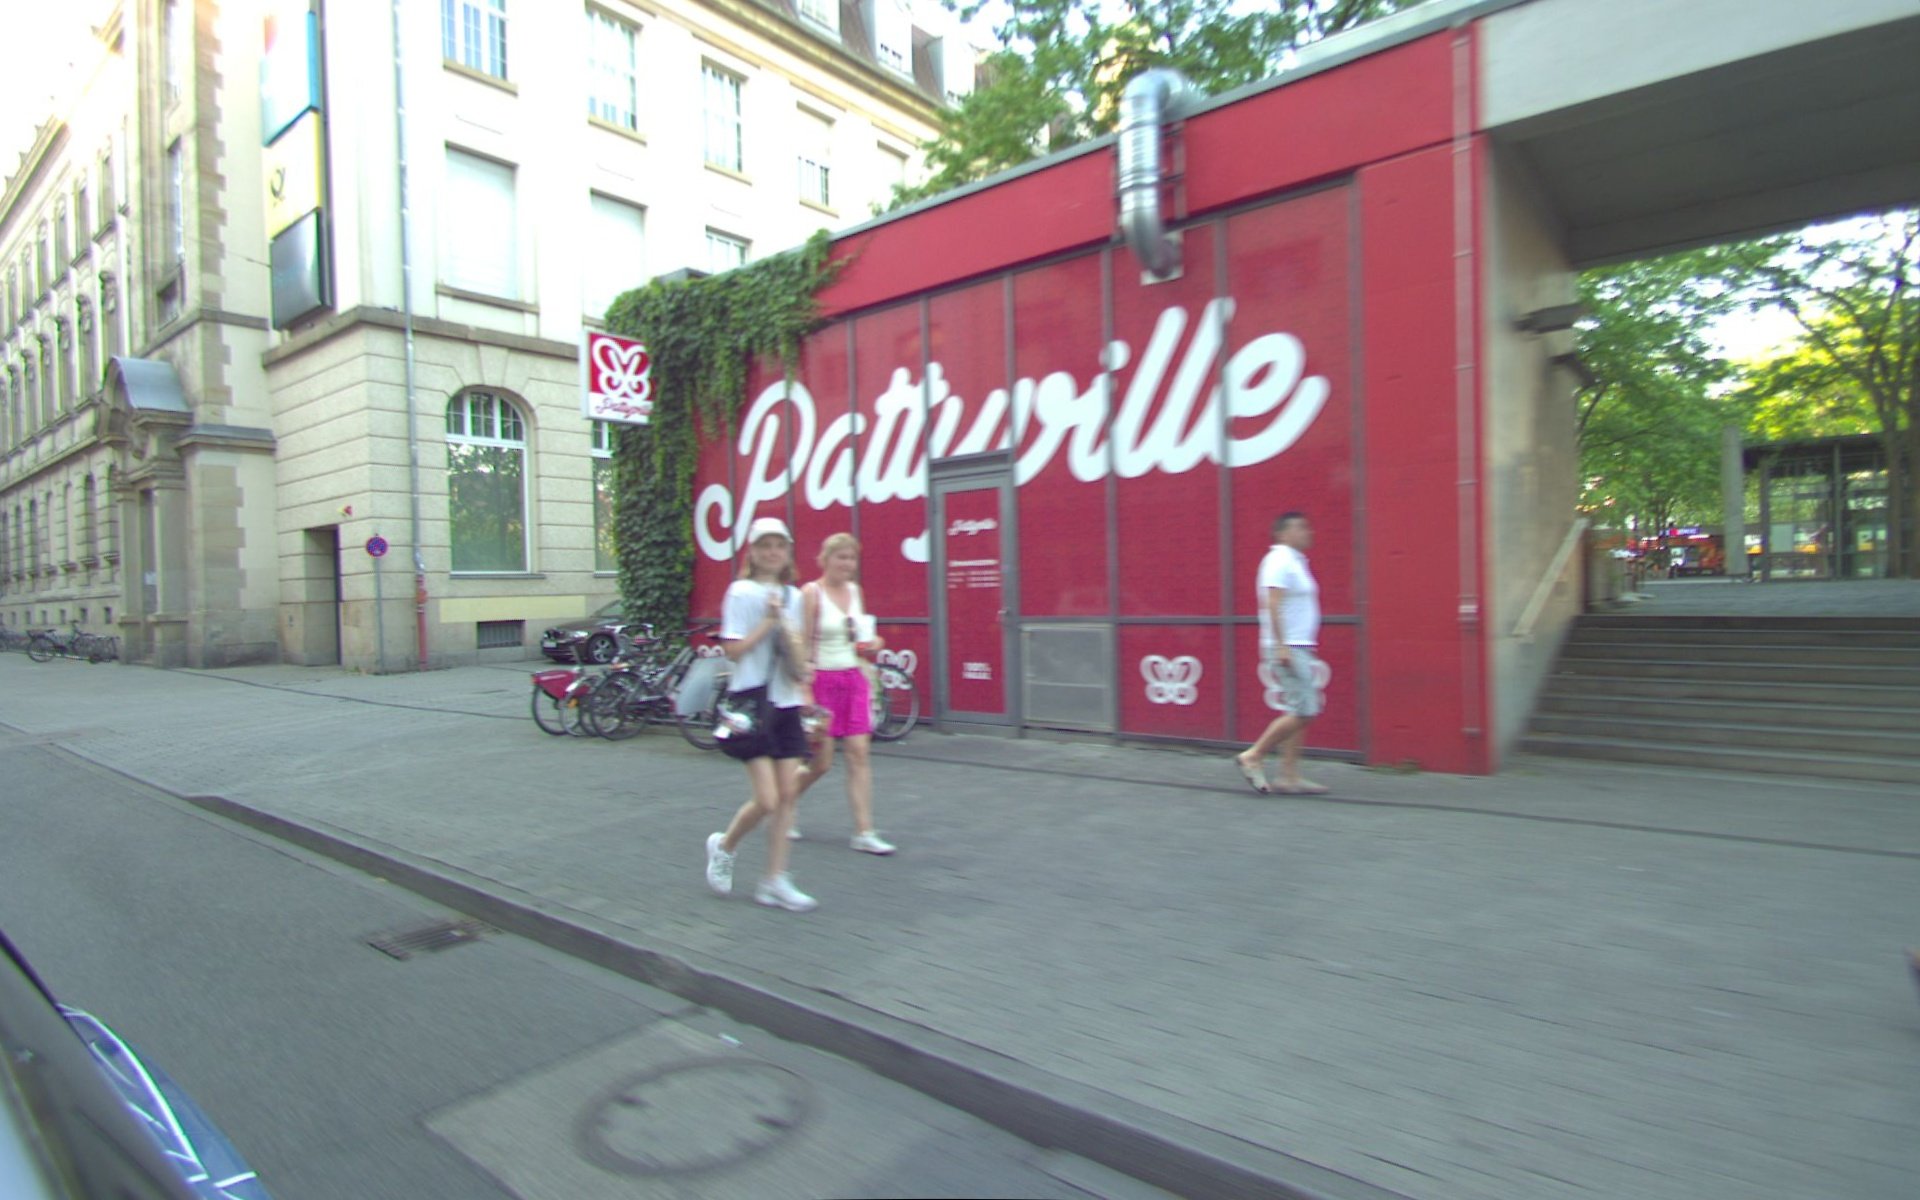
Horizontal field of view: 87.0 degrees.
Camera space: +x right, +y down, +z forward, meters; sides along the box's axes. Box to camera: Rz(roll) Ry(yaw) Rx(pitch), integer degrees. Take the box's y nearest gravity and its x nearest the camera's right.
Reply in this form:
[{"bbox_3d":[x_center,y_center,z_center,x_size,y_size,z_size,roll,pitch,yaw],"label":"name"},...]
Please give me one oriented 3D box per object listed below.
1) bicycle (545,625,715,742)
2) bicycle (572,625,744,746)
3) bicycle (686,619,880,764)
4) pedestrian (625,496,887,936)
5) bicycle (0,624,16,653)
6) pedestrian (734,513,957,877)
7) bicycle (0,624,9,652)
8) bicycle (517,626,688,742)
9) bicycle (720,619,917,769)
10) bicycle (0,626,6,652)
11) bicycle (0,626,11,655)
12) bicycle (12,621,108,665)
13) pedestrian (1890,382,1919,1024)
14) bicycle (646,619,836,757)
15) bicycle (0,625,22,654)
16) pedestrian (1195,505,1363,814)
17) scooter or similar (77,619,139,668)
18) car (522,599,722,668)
[{"bbox_3d":[-3.592,0.874,11.154,0.499,1.116,1.777,-2,0,38],"label":"bicycle"},{"bbox_3d":[-3.179,0.866,10.813,0.499,1.116,1.777,-2,0,38],"label":"bicycle"},{"bbox_3d":[-1.565,0.772,9.203,0.500,1.116,1.775,-2,1,42],"label":"bicycle"},{"bbox_3d":[-0.937,0.468,4.611,0.984,1.763,0.642,-2,0,39],"label":"pedestrian"},{"bbox_3d":[-37.278,1.514,38.587,0.499,1.116,1.780,-1,2,33],"label":"bicycle"},{"bbox_3d":[-0.612,0.456,5.441,0.845,1.762,0.745,-2,1,39],"label":"pedestrian"},{"bbox_3d":[-38.231,1.528,39.315,0.499,1.116,1.780,-1,2,33],"label":"bicycle"},{"bbox_3d":[-3.937,0.885,11.277,0.500,1.116,1.776,-2,0,39],"label":"bicycle"},{"bbox_3d":[-1.200,0.766,8.907,0.500,1.116,1.775,-2,1,42],"label":"bicycle"},{"bbox_3d":[-39.875,1.641,40.805,0.618,1.069,1.922,-1,2,33],"label":"bicycle"},{"bbox_3d":[-36.126,1.535,37.063,0.619,1.069,1.919,-1,2,37],"label":"bicycle"},{"bbox_3d":[-25.946,1.229,29.216,0.616,1.069,1.928,-1,3,24],"label":"bicycle"},{"bbox_3d":[3.149,0.313,2.617,1.008,1.826,0.734,-2,2,39],"label":"pedestrian"},{"bbox_3d":[-2.039,0.782,9.621,0.500,1.116,1.775,-2,1,42],"label":"bicycle"},{"bbox_3d":[-36.657,1.526,38.061,0.618,1.069,1.922,-1,2,33],"label":"bicycle"},{"bbox_3d":[2.002,0.346,6.321,0.844,1.767,0.712,-2,0,28],"label":"pedestrian"},{"bbox_3d":[-22.793,1.153,27.095,0.494,1.242,1.126,-2,1,27],"label":"scooter or similar"},{"bbox_3d":[-7.537,0.717,22.856,1.748,1.381,3.966,-2,-1,38],"label":"car"}]
